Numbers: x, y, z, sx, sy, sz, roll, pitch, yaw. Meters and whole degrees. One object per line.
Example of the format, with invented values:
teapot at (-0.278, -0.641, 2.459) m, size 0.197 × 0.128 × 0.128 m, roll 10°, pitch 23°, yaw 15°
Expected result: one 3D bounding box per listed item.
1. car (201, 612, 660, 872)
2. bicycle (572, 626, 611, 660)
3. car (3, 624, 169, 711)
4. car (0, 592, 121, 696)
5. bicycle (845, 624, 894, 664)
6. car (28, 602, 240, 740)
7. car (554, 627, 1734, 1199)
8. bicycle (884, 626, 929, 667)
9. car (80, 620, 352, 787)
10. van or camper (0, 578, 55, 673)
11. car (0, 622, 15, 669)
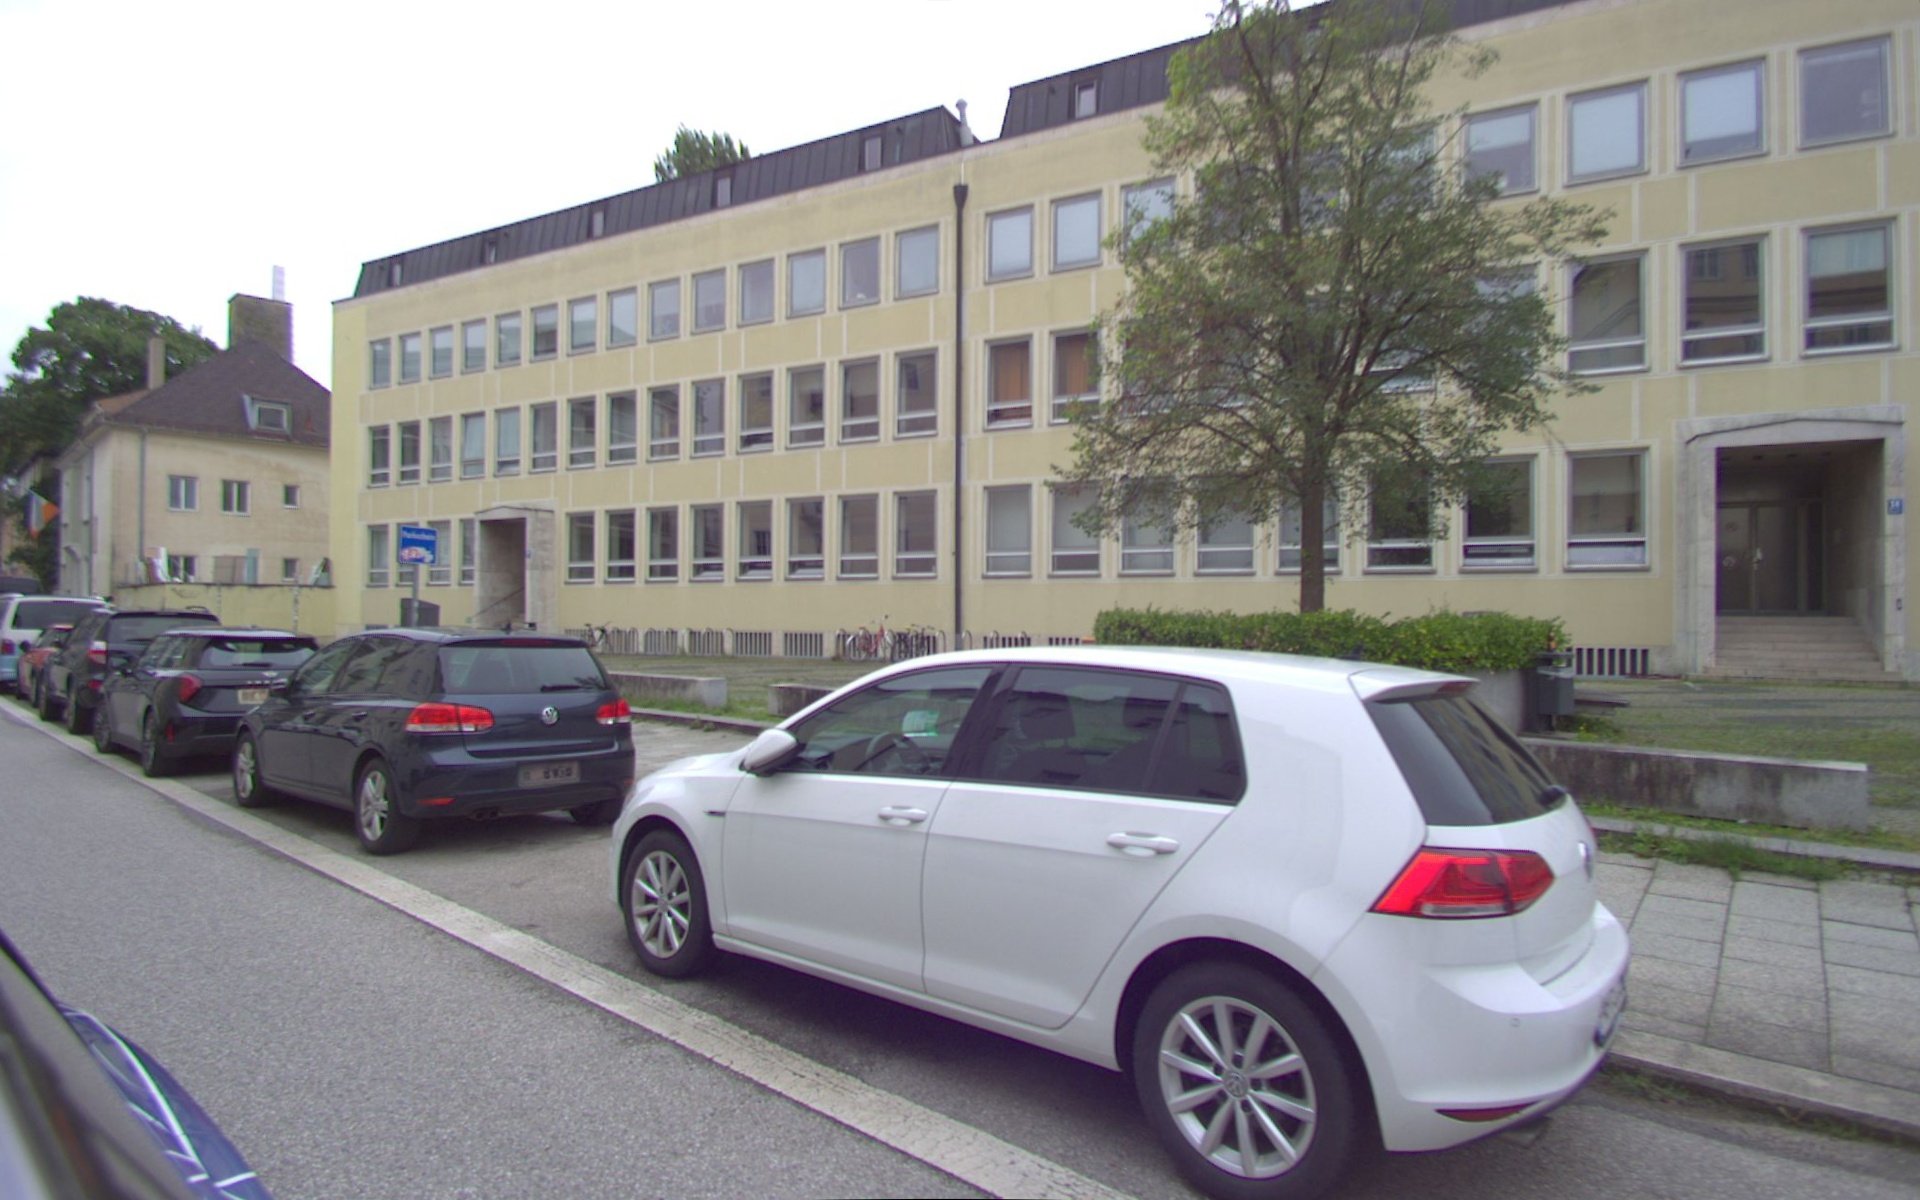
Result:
car at (-4.241, 0.897, 7.840) m, size 4.096 × 1.506 × 1.615 m, roll -1°, pitch -4°, yaw 39°
bicycle at (-11.113, 1.278, 30.565) m, size 0.410 × 0.952 × 1.405 m, roll -1°, pitch 0°, yaw 13°
car at (-15.867, 1.180, 18.323) m, size 3.708 × 1.417 × 1.785 m, roll -2°, pitch -4°, yaw 42°
car at (-19.570, 0.931, 21.401) m, size 4.957 × 1.975 × 1.895 m, roll -2°, pitch -4°, yaw 40°
bicycle at (-2.338, 1.131, 26.306) m, size 0.414 × 0.952 × 1.393 m, roll -1°, pitch 0°, yaw 38°
car at (-11.923, 0.943, 14.517) m, size 4.140 × 1.702 × 1.696 m, roll -1°, pitch -3°, yaw 42°
car at (0.326, 0.844, 4.004) m, size 4.290 × 1.433 × 1.723 m, roll -1°, pitch -3°, yaw 39°
bicycle at (-1.321, 1.142, 25.166) m, size 0.412 × 0.952 × 1.397 m, roll -1°, pitch 0°, yaw 29°
car at (-8.182, 0.986, 11.009) m, size 3.819 × 1.506 × 1.613 m, roll -1°, pitch -3°, yaw 42°
van or camper at (-29.004, 0.757, 30.361) m, size 5.562 × 2.671 × 2.267 m, roll -1°, pitch -4°, yaw 44°
car at (-33.017, 1.490, 33.731) m, size 3.905 × 1.508 × 1.636 m, roll -1°, pitch -3°, yaw 39°
